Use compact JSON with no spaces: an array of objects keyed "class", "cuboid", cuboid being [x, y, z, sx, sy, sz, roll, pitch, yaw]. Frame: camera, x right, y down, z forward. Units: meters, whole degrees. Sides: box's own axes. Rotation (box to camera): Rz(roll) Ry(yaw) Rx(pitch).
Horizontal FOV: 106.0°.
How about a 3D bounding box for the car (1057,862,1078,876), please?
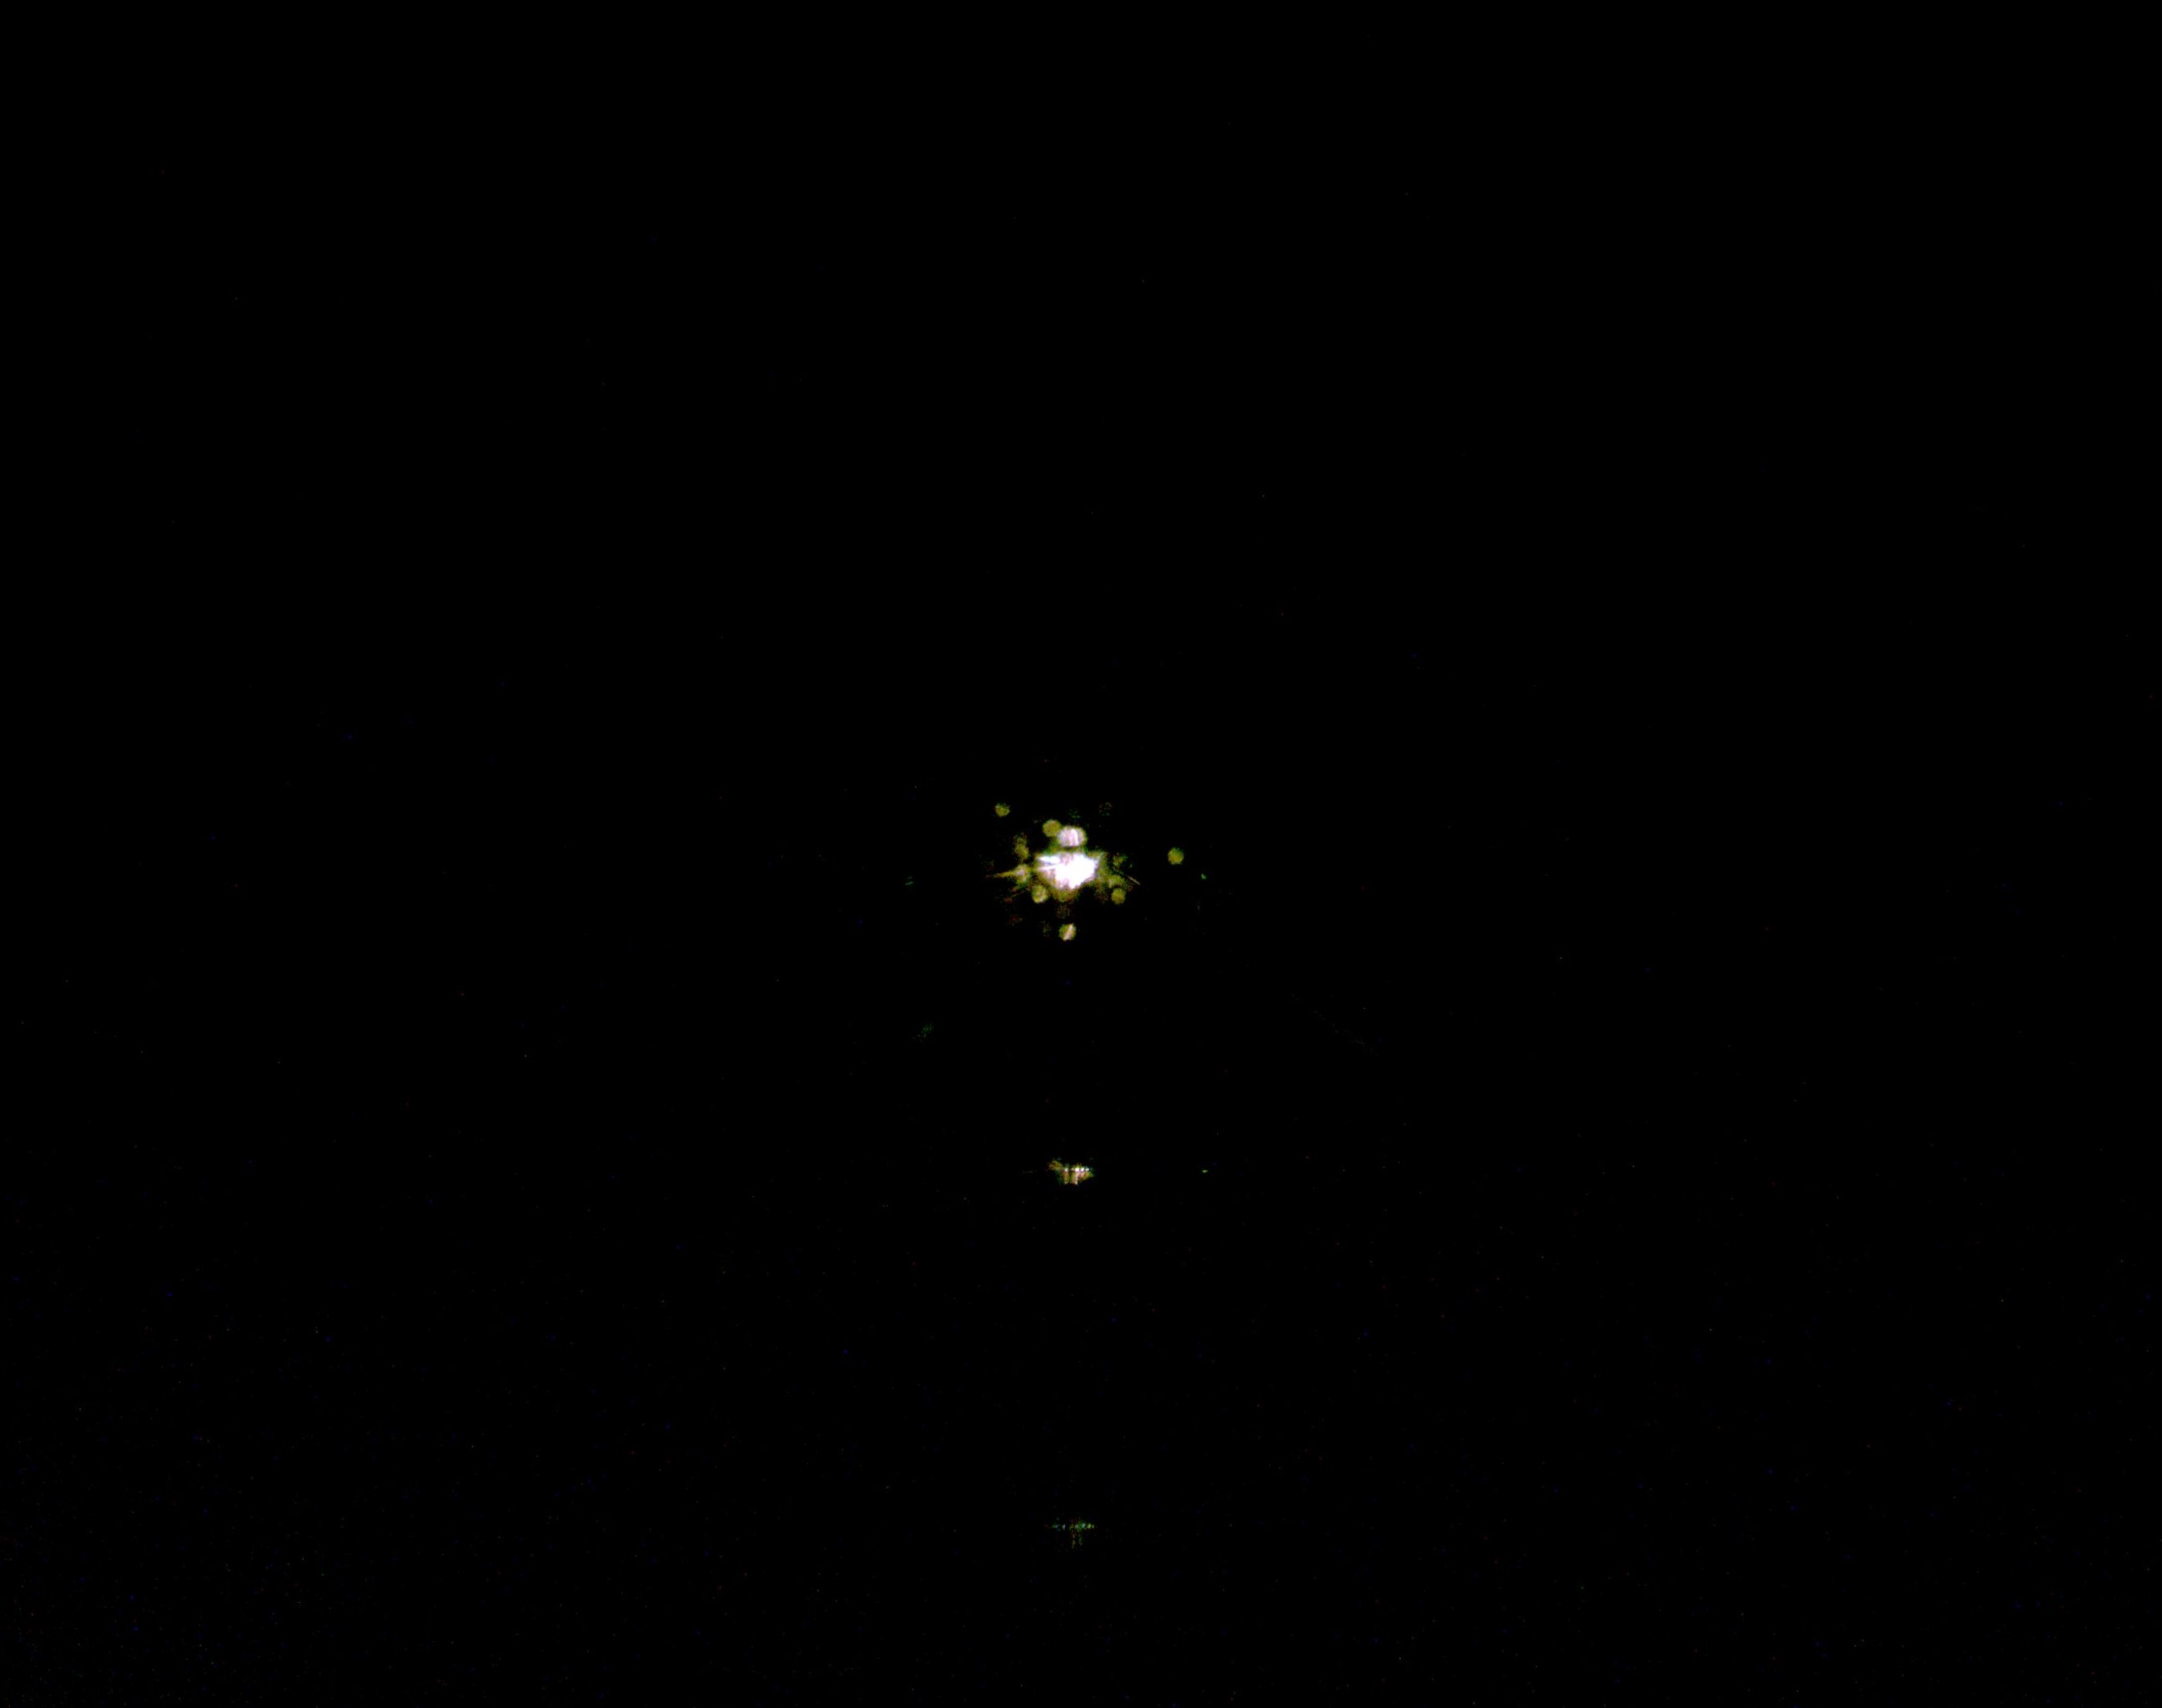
[{"class":"car","cuboid":[-1.385,1.563,85.686,1.986,1.475,3.925,0,-1,1]}]
